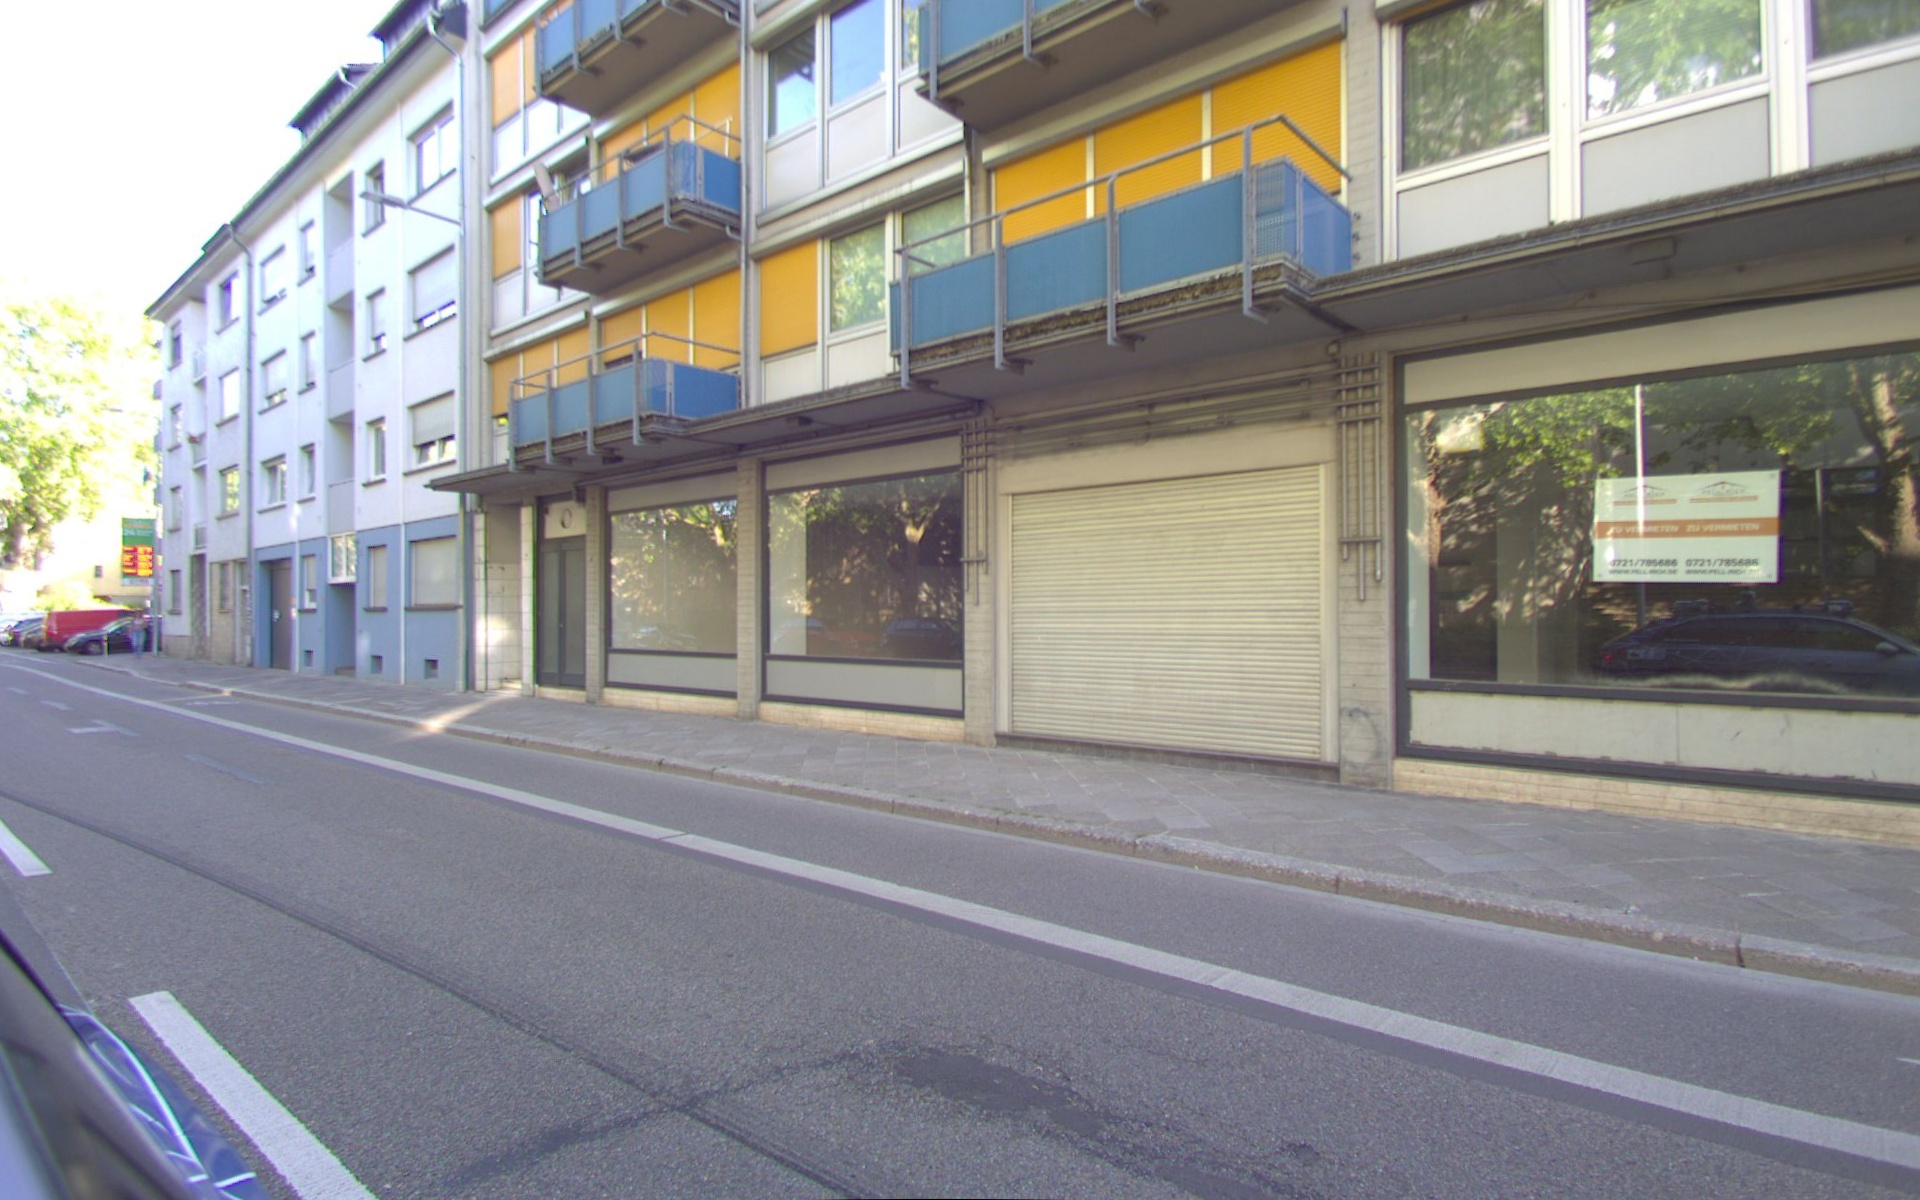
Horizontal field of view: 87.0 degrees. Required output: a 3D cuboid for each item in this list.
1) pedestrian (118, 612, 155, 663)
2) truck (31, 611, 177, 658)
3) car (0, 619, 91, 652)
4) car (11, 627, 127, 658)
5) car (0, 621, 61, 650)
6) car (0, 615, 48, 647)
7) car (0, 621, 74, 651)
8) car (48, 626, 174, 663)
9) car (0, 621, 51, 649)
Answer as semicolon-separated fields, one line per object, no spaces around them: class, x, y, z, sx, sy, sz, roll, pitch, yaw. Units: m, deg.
pedestrian;-29.439;1.313;36.177;0.741;1.785;0.884;-1;0;41
truck;-40.357;1.572;47.837;1.998;2.036;5.024;-1;0;40
car;-50.830;1.922;55.969;1.699;1.640;3.952;-1;0;35
car;-43.057;2.026;48.970;1.904;1.282;3.983;-1;0;39
car;-55.074;2.069;59.002;1.715;1.594;3.660;-1;0;35
car;-59.747;1.955;63.817;1.693;1.953;3.224;-1;0;43
car;-52.890;2.025;57.473;1.656;1.599;3.615;-1;0;35
car;-36.789;1.879;43.910;1.780;1.404;3.947;-1;0;39
car;-56.895;2.110;60.394;1.740;1.600;3.685;-1;0;35
